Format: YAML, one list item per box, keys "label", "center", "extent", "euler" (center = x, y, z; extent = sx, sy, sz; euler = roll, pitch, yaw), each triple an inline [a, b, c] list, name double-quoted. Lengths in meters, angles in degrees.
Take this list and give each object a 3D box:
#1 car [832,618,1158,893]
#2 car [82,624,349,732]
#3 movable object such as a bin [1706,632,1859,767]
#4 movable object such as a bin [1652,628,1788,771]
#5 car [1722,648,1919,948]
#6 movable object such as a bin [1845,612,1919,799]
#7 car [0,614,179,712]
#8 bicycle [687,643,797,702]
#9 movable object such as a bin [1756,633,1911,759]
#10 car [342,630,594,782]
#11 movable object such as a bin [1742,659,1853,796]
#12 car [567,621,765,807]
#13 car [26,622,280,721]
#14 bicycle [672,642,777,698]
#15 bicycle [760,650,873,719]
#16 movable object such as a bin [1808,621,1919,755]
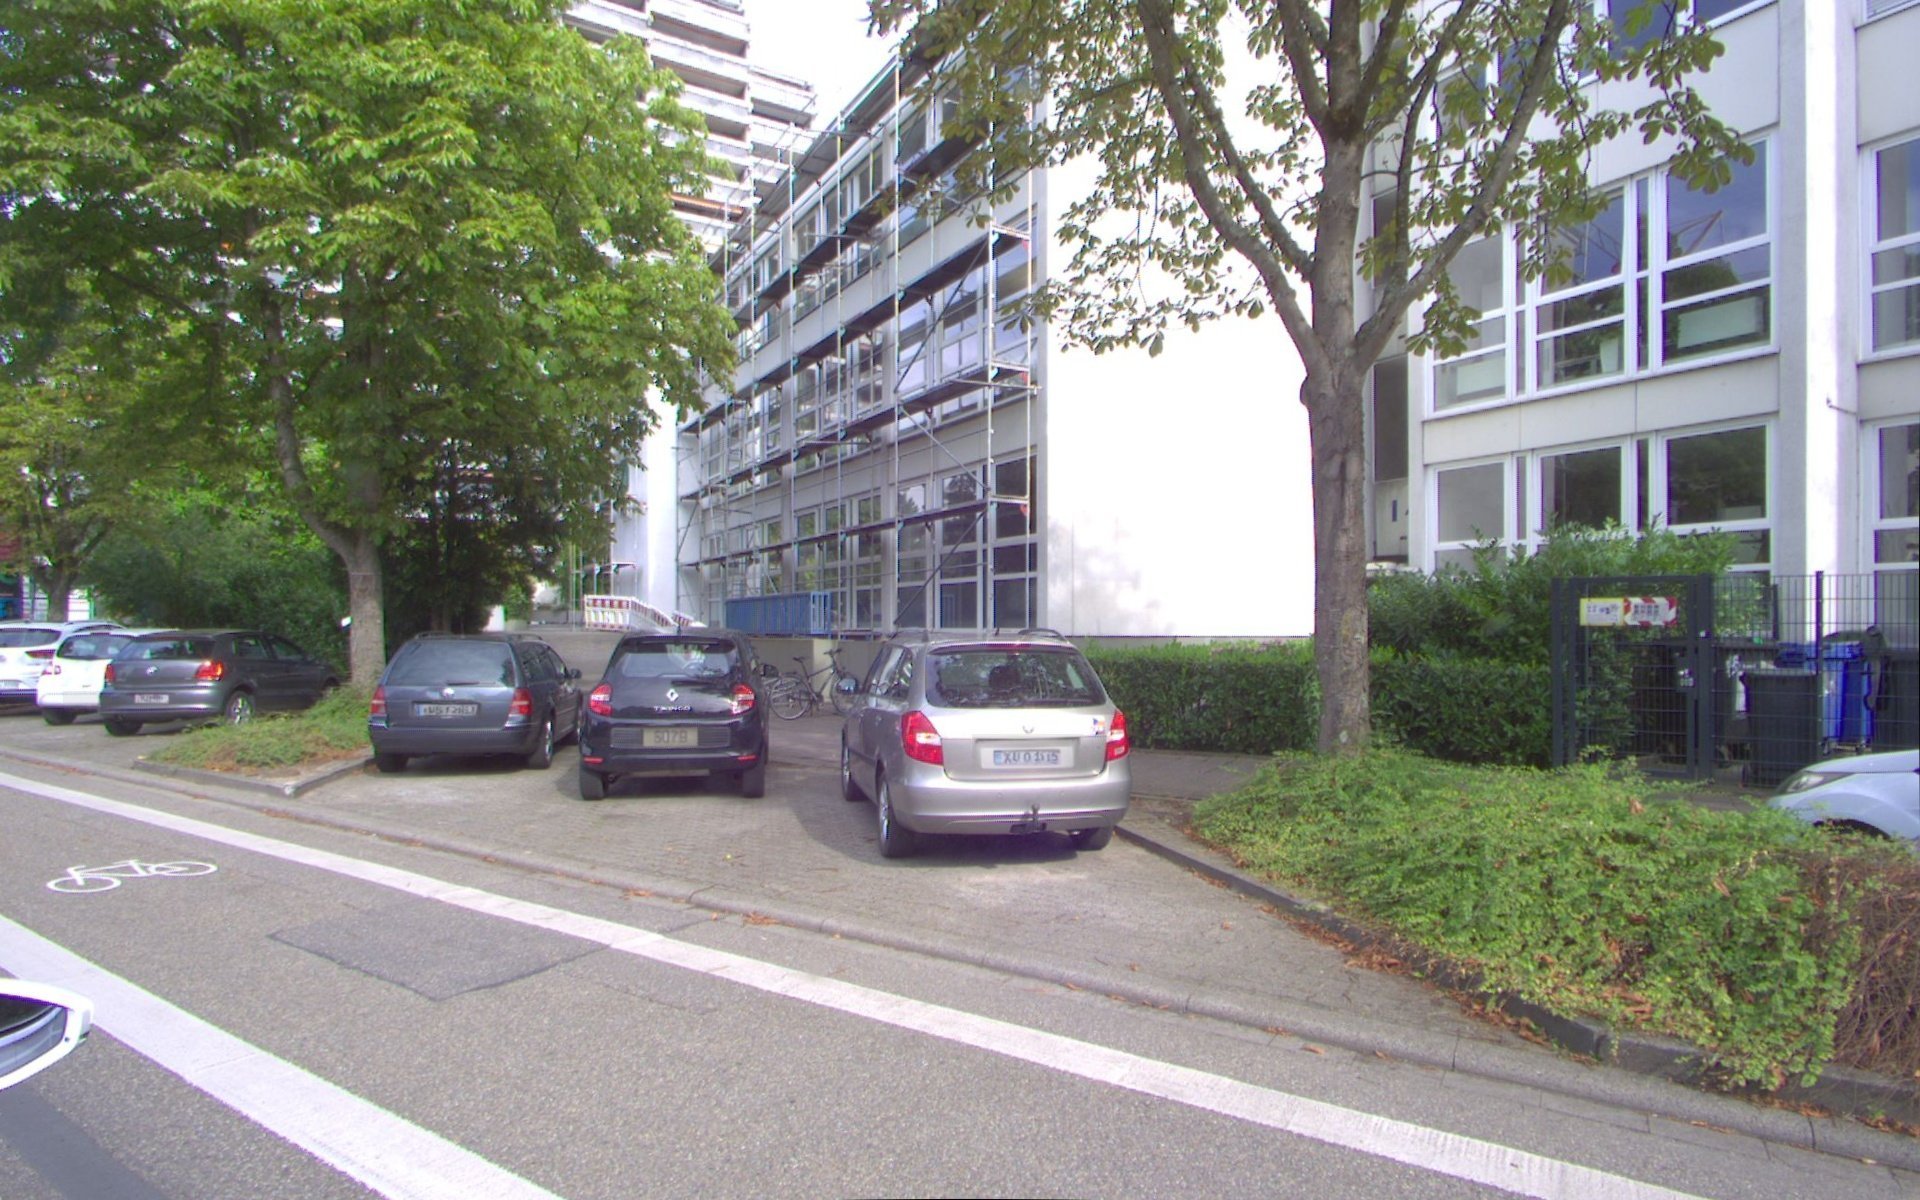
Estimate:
- label: "car"
  center: [-0.017, 0.954, 7.826]
  extent: [1.566, 1.557, 4.049]
  euler: [1, -2, -13]
- label: "car"
  center: [-11.091, 1.104, 15.267]
  extent: [1.650, 1.438, 3.647]
  euler: [0, -2, -6]
- label: "movable object such as a bin"
  center: [9.241, 1.067, 11.265]
  extent: [1.050, 1.409, 1.111]
  euler: [1, -1, -36]
- label: "movable object such as a bin"
  center: [8.080, 1.014, 10.652]
  extent: [1.012, 1.425, 0.906]
  euler: [1, -1, -36]
- label: "car"
  center: [5.572, 0.936, 4.028]
  extent: [1.604, 1.411, 3.858]
  euler: [1, -2, -13]
- label: "movable object such as a bin"
  center: [8.601, 0.883, 8.575]
  extent: [1.397, 1.549, 1.322]
  euler: [-1, -1, 37]
- label: "car"
  center: [-16.288, 1.100, 18.379]
  extent: [1.651, 1.623, 3.644]
  euler: [0, -2, -12]
- label: "bicycle"
  center: [-4.108, 1.354, 18.958]
  extent: [1.949, 1.057, 0.591]
  euler: [1, -1, -30]
- label: "movable object such as a bin"
  center: [10.386, 1.093, 11.919]
  extent: [1.160, 1.388, 1.171]
  euler: [1, -1, -36]
- label: "car"
  center: [-5.516, 1.082, 11.797]
  extent: [1.783, 1.433, 4.166]
  euler: [0, -2, -14]
- label: "movable object such as a bin"
  center: [7.464, 1.102, 8.959]
  extent: [0.734, 1.119, 0.781]
  euler: [0, -1, 38]
- label: "car"
  center: [-2.811, 1.008, 10.201]
  extent: [1.566, 1.557, 3.416]
  euler: [1, -1, -10]
- label: "car"
  center: [-13.431, 1.132, 16.968]
  extent: [1.650, 1.493, 3.647]
  euler: [0, -2, -6]
- label: "bicycle"
  center: [-4.628, 1.351, 19.693]
  extent: [1.944, 1.057, 0.593]
  euler: [1, -1, -20]
- label: "bicycle"
  center: [-2.369, 1.378, 16.604]
  extent: [1.813, 1.057, 0.451]
  euler: [0, 0, -29]
- label: "movable object such as a bin"
  center: [11.569, 1.068, 12.580]
  extent: [1.160, 1.588, 1.171]
  euler: [1, -1, -36]
